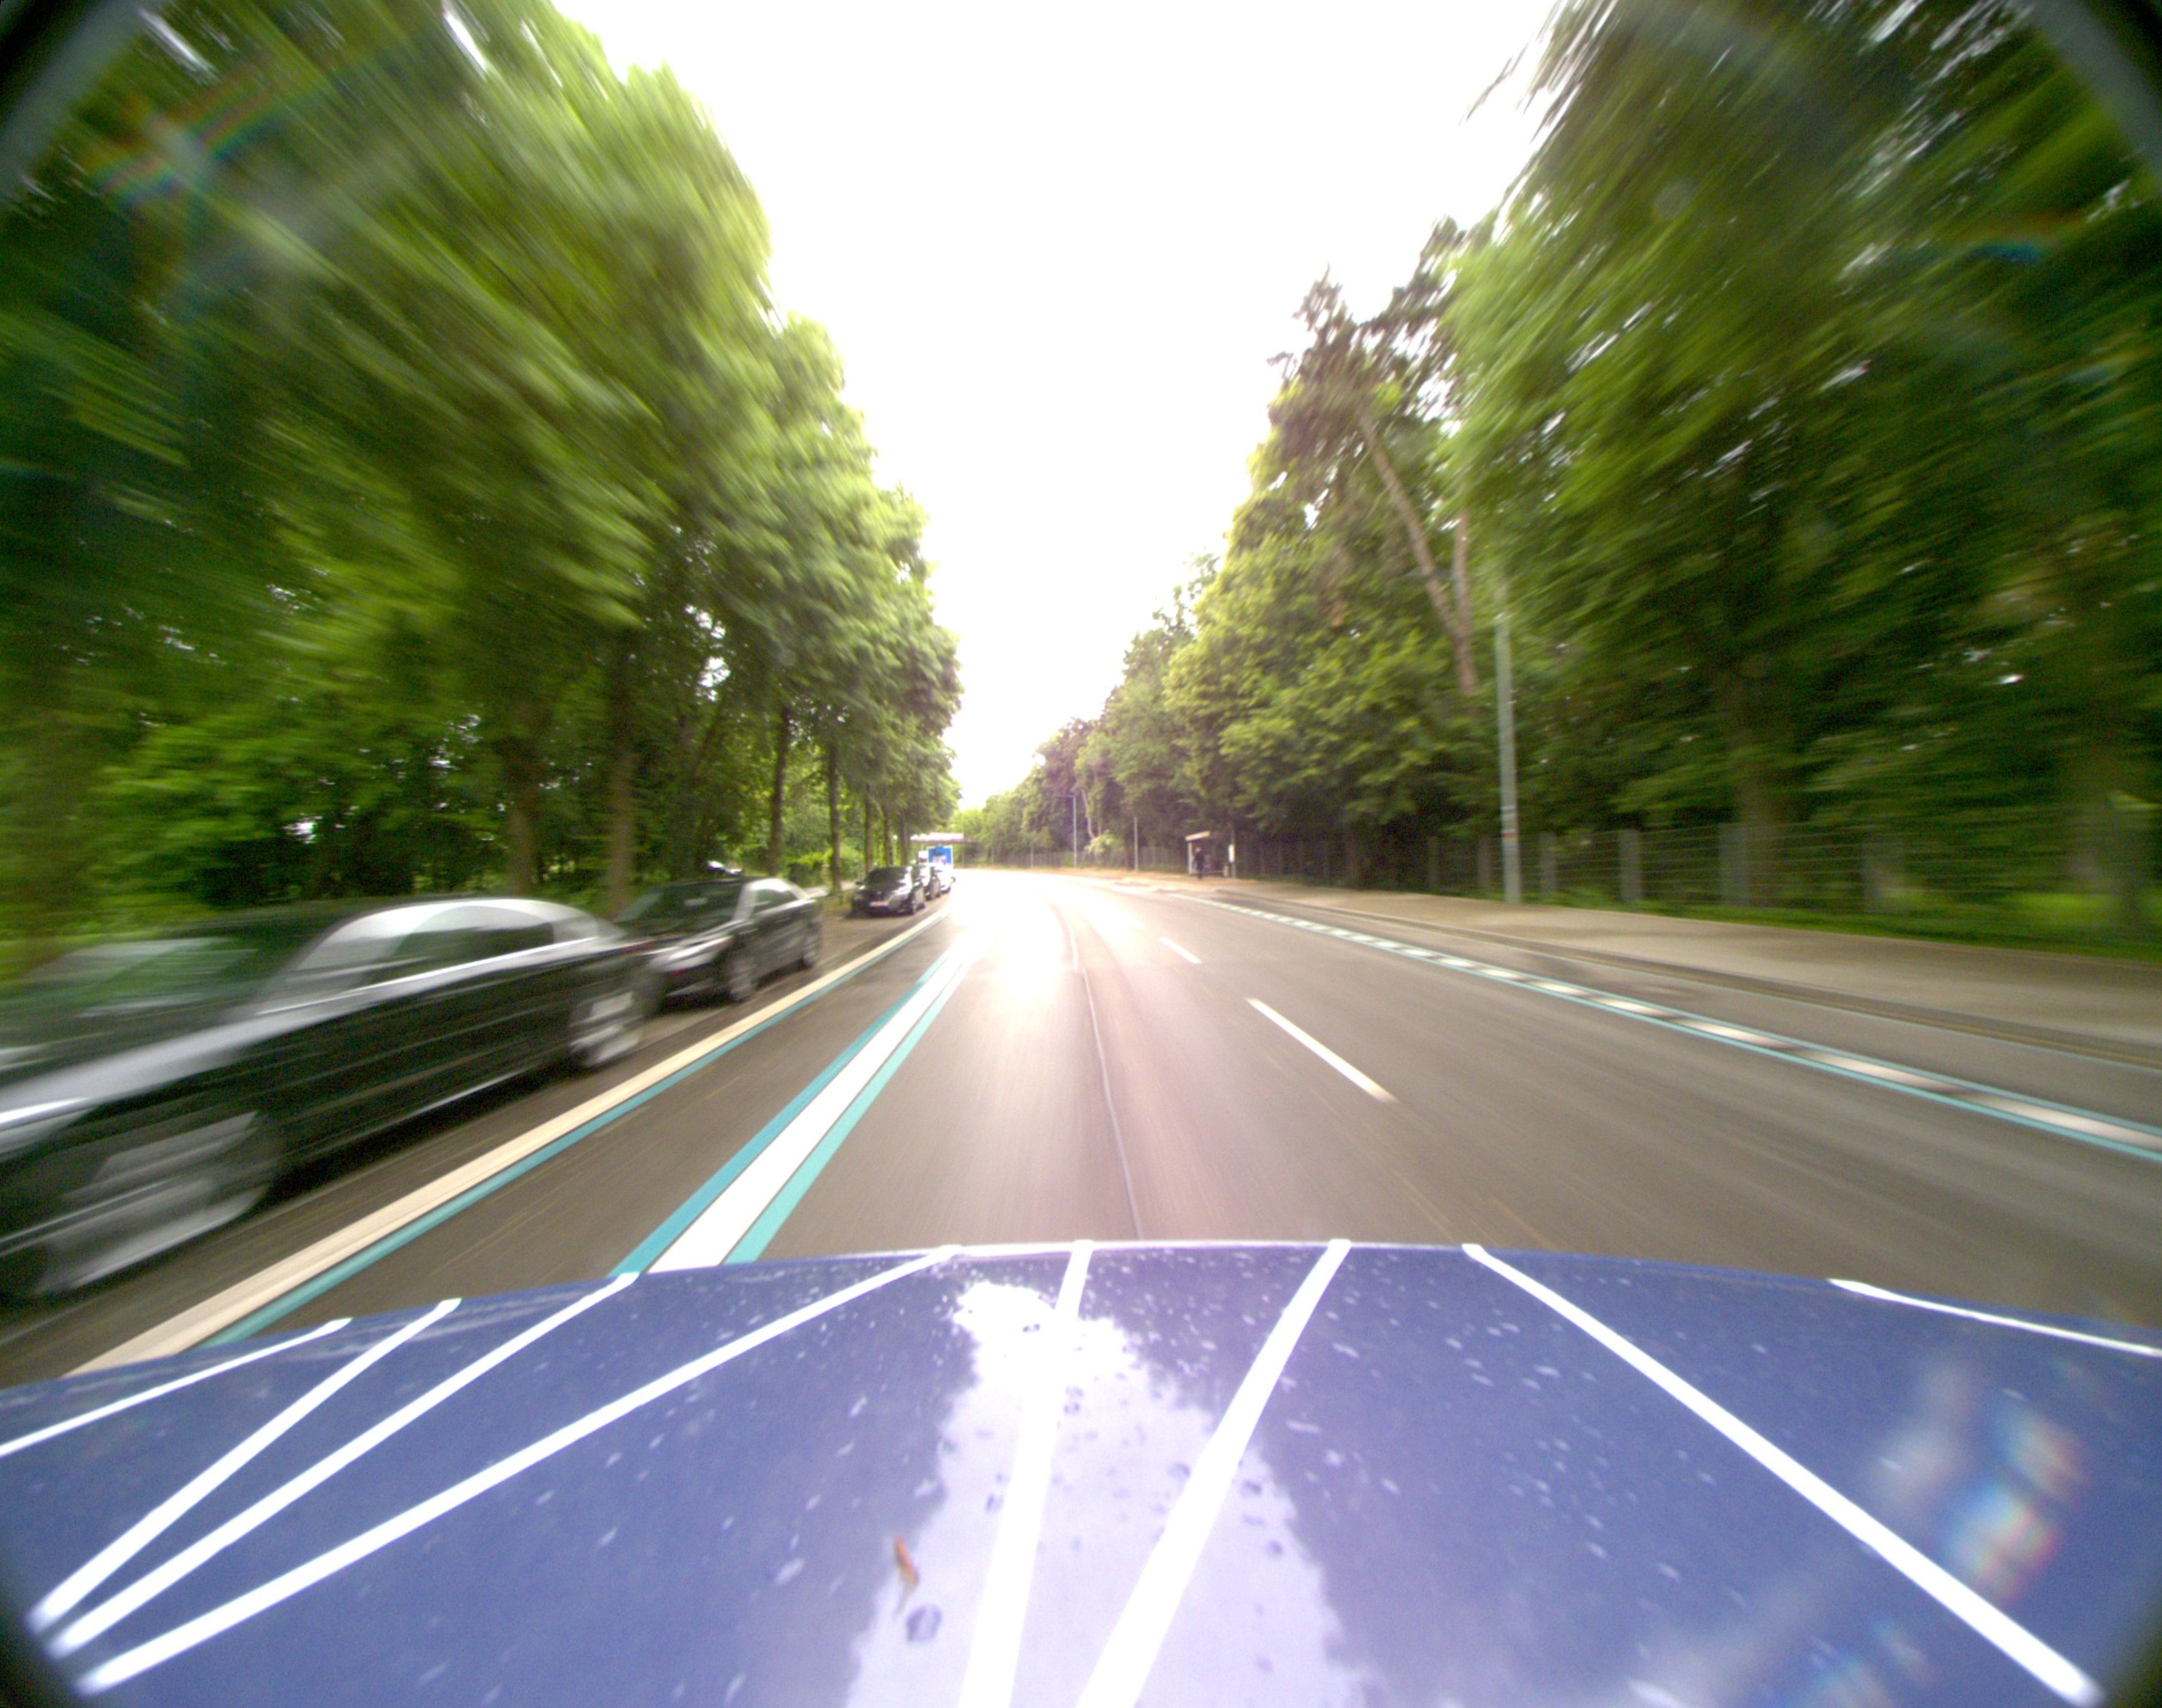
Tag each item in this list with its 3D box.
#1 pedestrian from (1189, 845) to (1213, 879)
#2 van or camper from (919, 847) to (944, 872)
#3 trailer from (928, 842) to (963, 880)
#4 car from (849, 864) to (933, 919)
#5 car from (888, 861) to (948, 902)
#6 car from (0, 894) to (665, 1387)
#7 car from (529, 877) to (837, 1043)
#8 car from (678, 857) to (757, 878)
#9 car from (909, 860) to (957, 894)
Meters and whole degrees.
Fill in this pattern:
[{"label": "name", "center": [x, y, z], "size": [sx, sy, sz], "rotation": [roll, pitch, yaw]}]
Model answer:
[{"label": "pedestrian", "center": [6.324, 0.423, 40.093], "size": [0.890, 1.723, 1.145], "rotation": [-2, 1, -11]}, {"label": "van or camper", "center": [-16.702, 0.623, 84.605], "size": [2.325, 2.649, 6.374], "rotation": [-2, 0, -14]}, {"label": "trailer", "center": [-10.094, 0.504, 56.355], "size": [2.324, 2.656, 5.371], "rotation": [-2, 0, -11]}, {"label": "car", "center": [-5.851, 1.096, 23.931], "size": [1.787, 1.399, 4.842], "rotation": [-3, 1, -5]}, {"label": "car", "center": [-6.590, 1.081, 31.153], "size": [1.688, 1.420, 4.316], "rotation": [-3, 1, -3]}, {"label": "car", "center": [-4.614, 1.122, 4.392], "size": [1.762, 1.431, 4.856], "rotation": [-3, 0, -1]}, {"label": "car", "center": [-4.779, 1.139, 10.070], "size": [1.704, 1.412, 4.761], "rotation": [-3, 1, -3]}, {"label": "car", "center": [-23.352, 0.859, 48.943], "size": [4.147, 1.314, 1.890], "rotation": [1, 0, 0]}, {"label": "car", "center": [-7.156, 1.064, 37.171], "size": [1.865, 1.420, 4.646], "rotation": [-3, 1, -6]}]
